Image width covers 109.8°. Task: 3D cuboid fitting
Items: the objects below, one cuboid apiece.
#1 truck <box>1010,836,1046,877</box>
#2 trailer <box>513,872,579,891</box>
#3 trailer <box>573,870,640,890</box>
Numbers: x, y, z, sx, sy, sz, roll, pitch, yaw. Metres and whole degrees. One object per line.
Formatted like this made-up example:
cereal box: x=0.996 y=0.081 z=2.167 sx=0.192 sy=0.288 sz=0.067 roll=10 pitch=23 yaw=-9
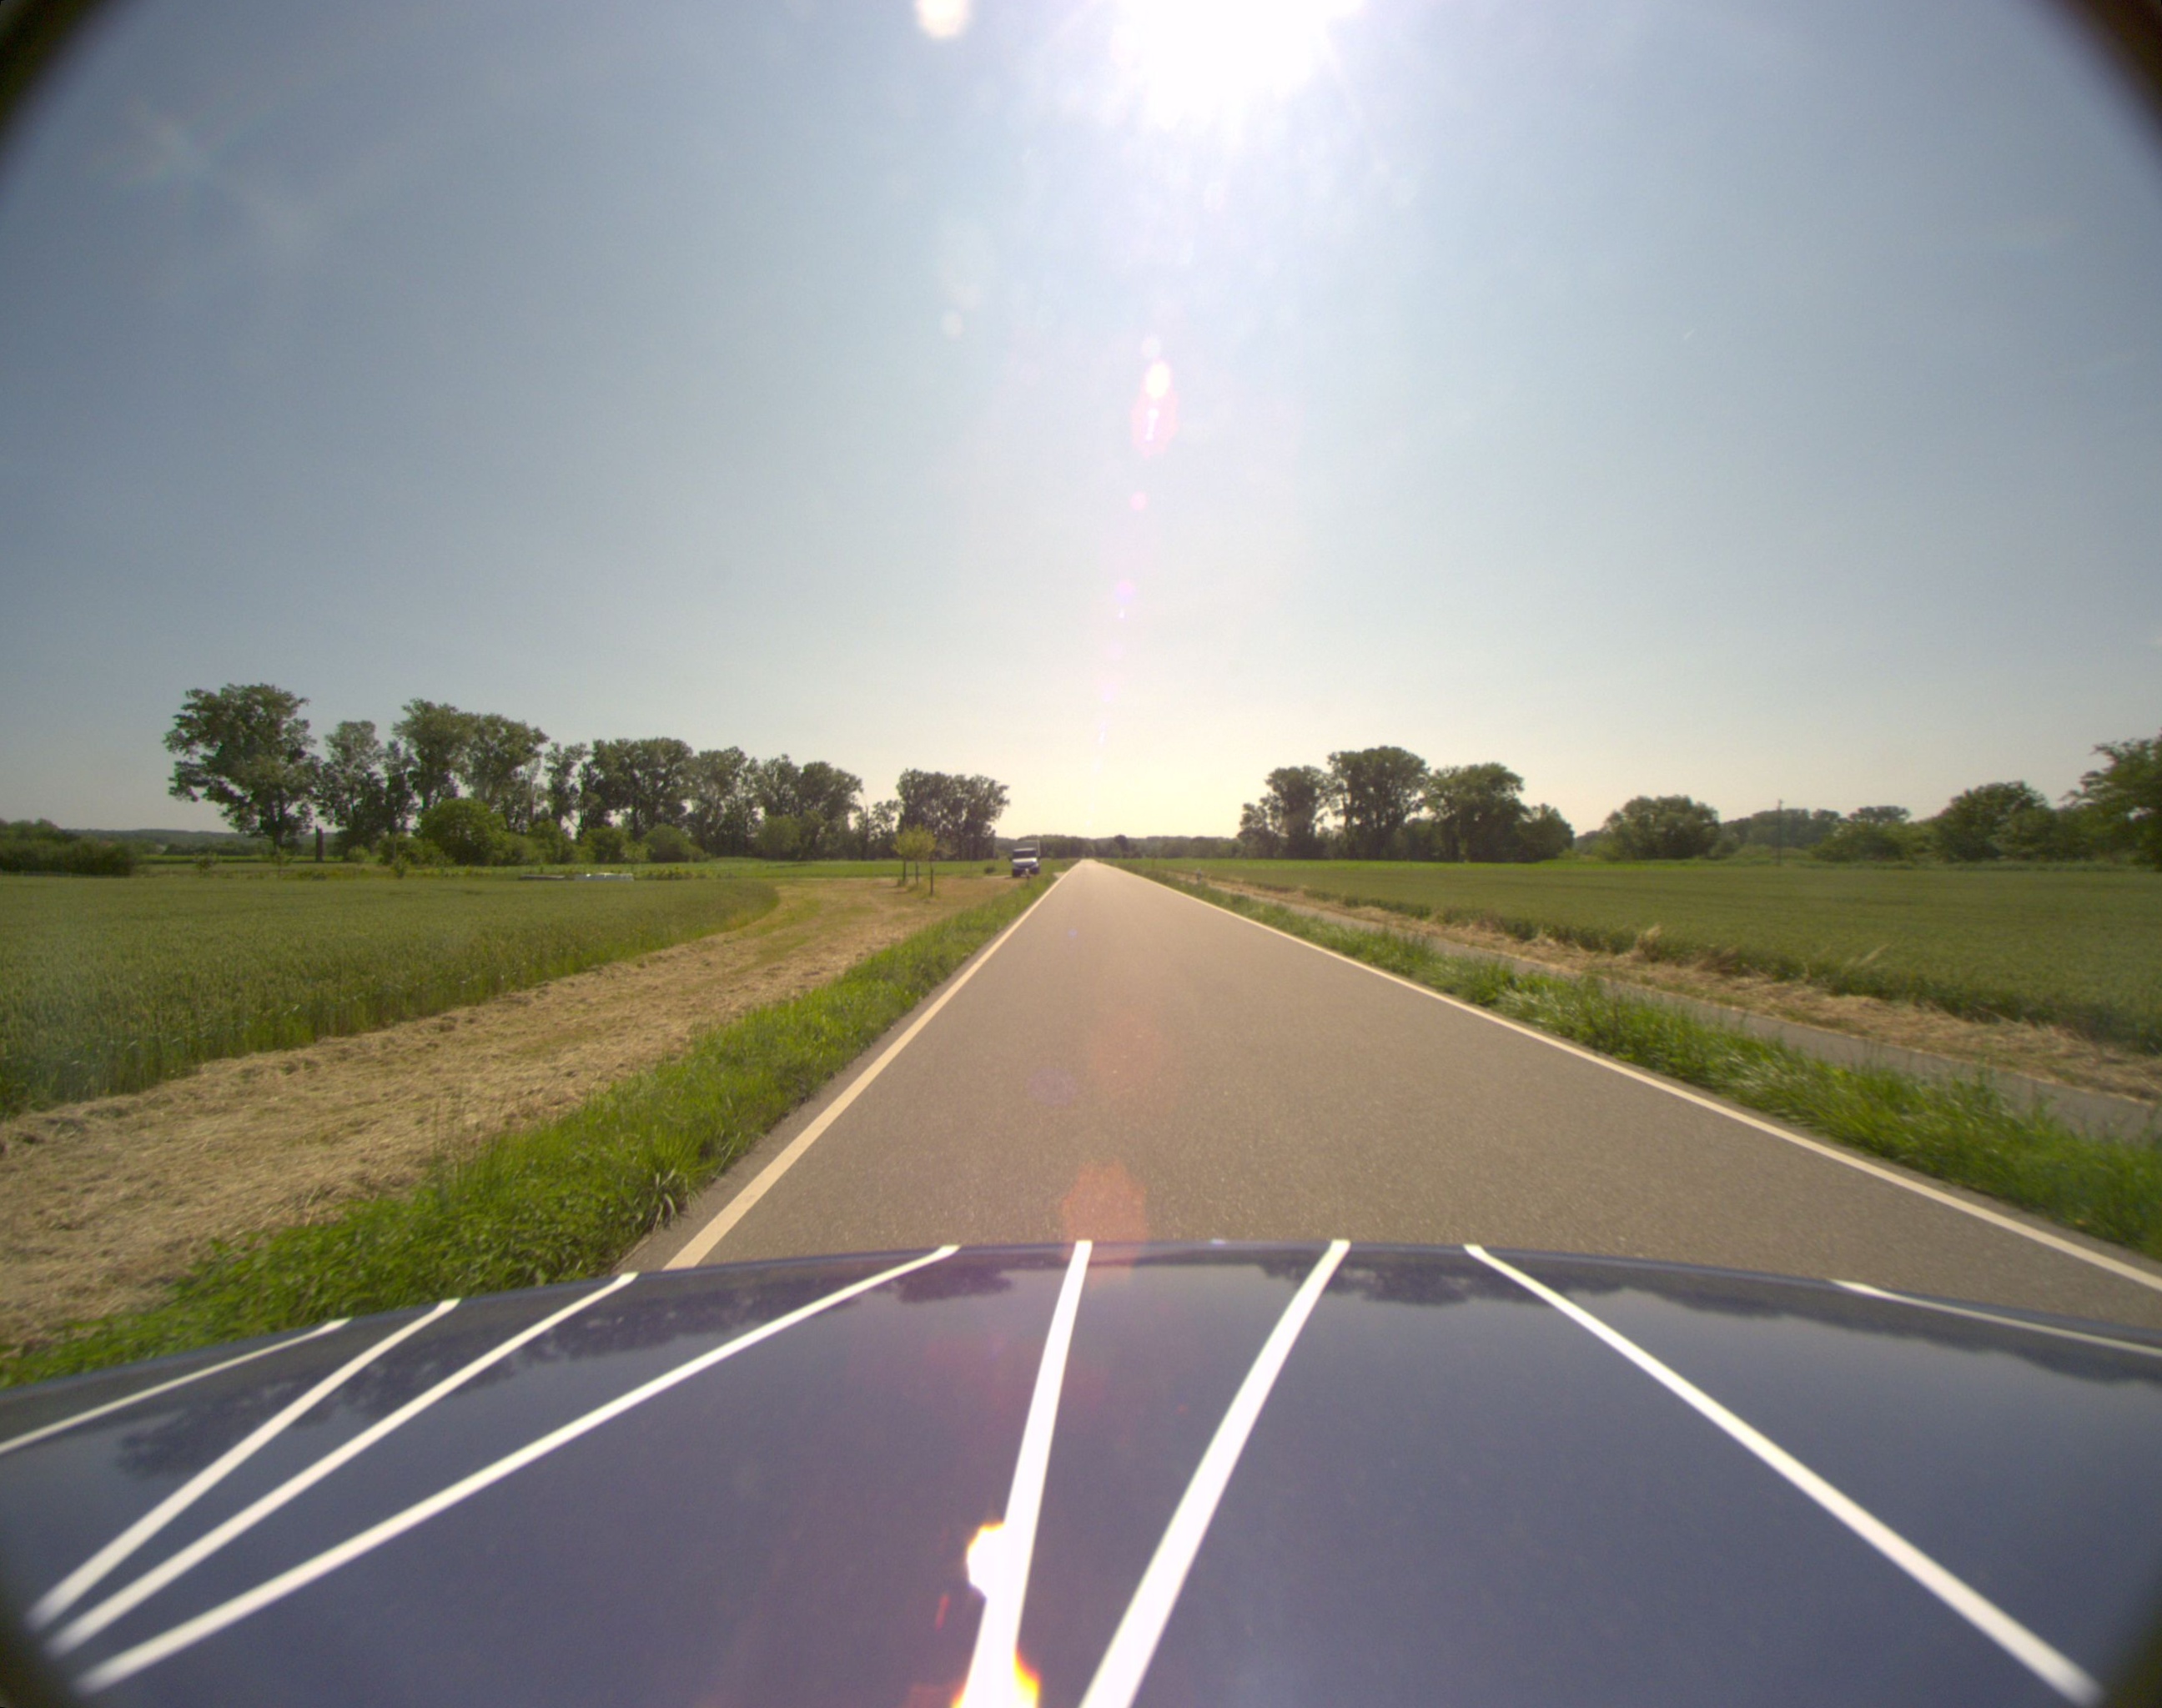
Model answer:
truck: x=-4.124 y=0.152 z=60.316 sx=2.342 sy=2.925 sz=7.007 roll=-3 pitch=1 yaw=-2
trailer: x=-36.351 y=1.867 z=51.679 sx=3.543 sy=1.182 sz=1.665 roll=-1 pitch=1 yaw=12
trailer: x=-31.433 y=1.735 z=50.333 sx=3.591 sy=1.182 sz=1.665 roll=-2 pitch=1 yaw=12
